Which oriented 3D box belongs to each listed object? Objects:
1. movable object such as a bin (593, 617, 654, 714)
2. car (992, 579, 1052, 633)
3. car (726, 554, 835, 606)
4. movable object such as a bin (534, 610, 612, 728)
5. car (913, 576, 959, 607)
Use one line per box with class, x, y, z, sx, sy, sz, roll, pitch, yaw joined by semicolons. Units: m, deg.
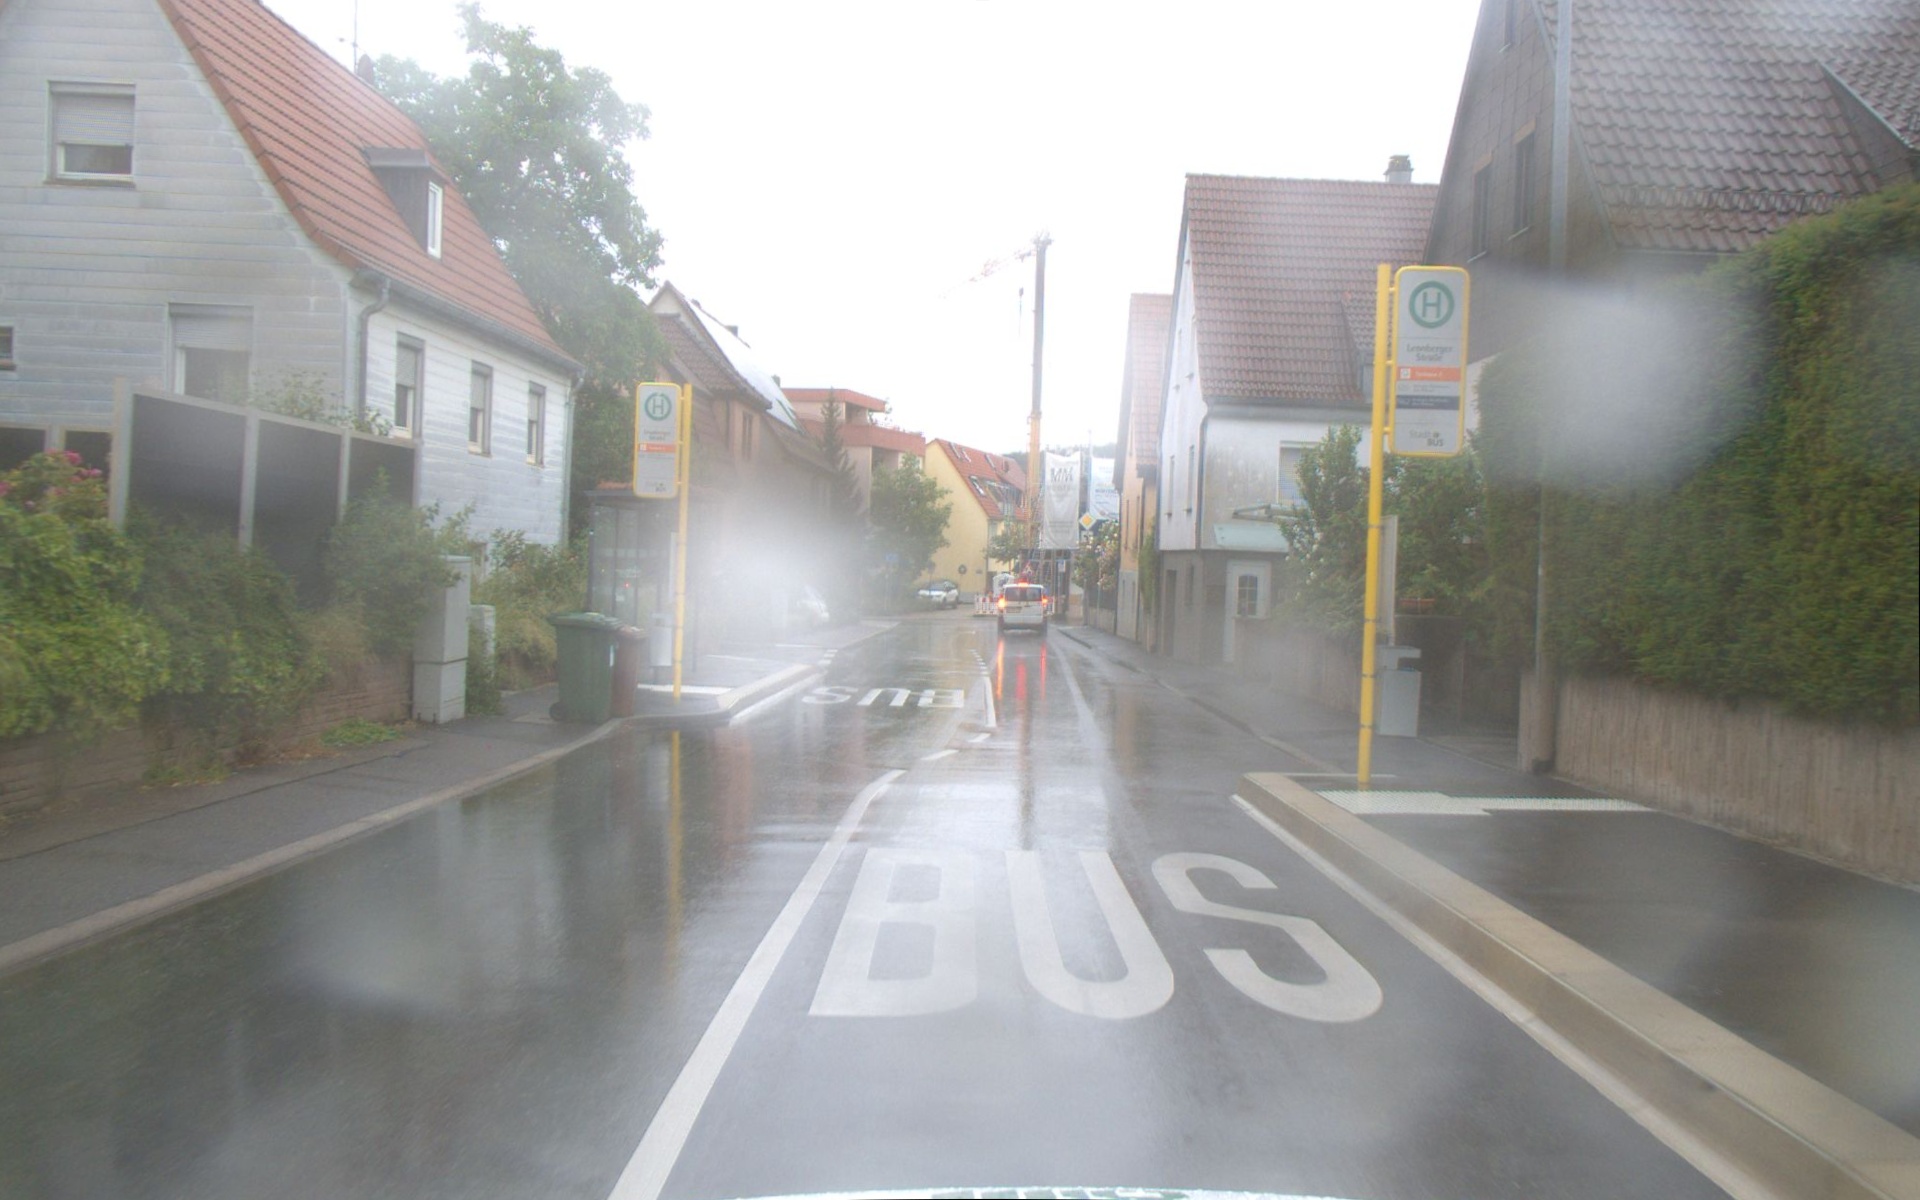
movable object such as a bin;-3.573;0.685;17.589;0.458;0.955;0.455;5;2;3
car;2.286;0.226;62.029;2.136;1.902;4.000;1;0;1
car;-6.220;-0.679;57.560;3.472;1.555;1.664;4;0;2
movable object such as a bin;-3.824;0.672;16.384;0.541;1.101;0.528;5;0;3
car;-1.406;-0.526;97.950;1.566;1.707;3.941;3;2;16
